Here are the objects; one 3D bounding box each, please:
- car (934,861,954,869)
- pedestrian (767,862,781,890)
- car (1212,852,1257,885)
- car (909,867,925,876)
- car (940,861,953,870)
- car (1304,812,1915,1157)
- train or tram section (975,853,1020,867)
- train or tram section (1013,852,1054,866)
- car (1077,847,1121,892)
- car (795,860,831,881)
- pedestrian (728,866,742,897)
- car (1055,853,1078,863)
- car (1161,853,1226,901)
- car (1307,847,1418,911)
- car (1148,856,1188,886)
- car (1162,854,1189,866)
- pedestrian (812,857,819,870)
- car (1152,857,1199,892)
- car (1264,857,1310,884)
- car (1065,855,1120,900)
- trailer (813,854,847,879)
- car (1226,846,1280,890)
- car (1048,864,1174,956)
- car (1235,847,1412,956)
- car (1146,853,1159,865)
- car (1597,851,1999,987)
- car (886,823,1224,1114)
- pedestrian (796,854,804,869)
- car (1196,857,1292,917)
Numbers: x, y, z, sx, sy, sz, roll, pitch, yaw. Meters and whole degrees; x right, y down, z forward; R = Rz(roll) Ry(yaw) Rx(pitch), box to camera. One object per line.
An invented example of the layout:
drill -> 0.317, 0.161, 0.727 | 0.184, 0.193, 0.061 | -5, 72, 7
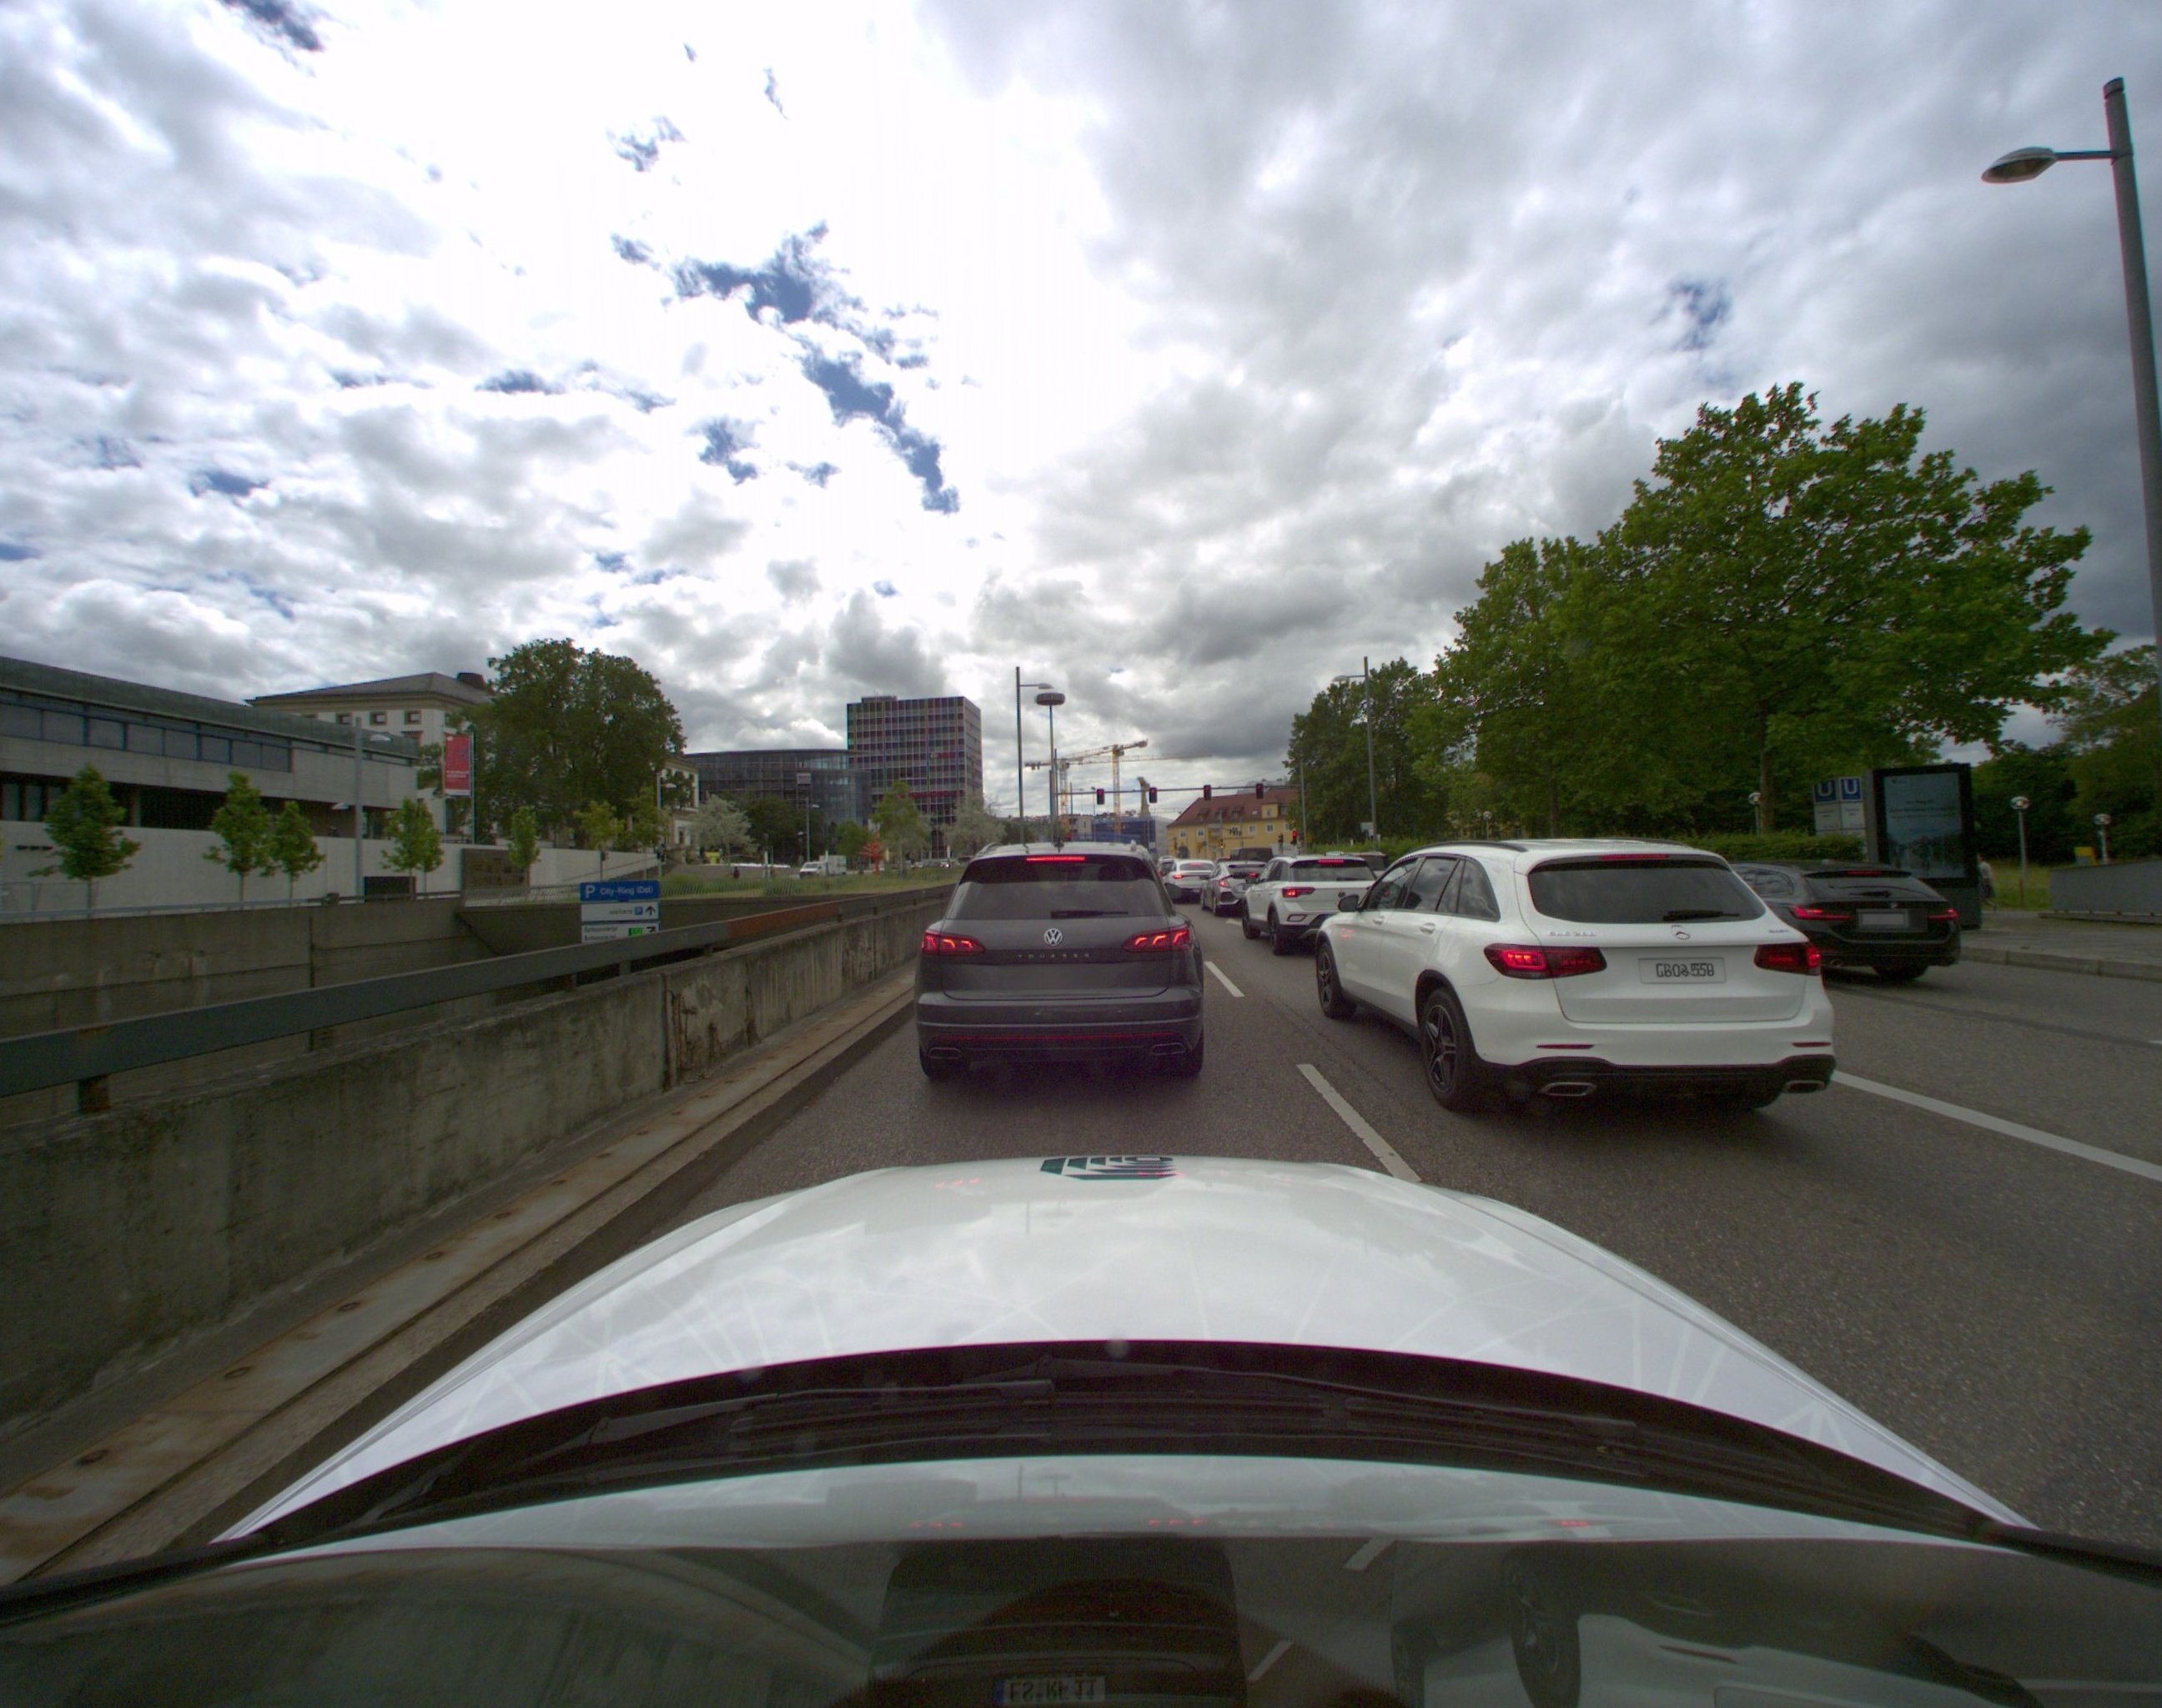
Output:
car -> -27.466, 2.180, 163.237 | 4.173, 1.603, 1.764 | -1, -2, 38
pedestrian -> -22.565, 1.624, 59.933 | 0.729, 2.012, 0.628 | -2, 4, -6
car -> 8.341, 0.797, 44.647 | 1.902, 1.697, 4.014 | 0, -1, 3
car -> -25.444, 2.716, 126.464 | 1.727, 1.495, 3.594 | 0, -2, 0
car -> -24.184, 2.058, 146.959 | 1.727, 1.495, 3.594 | 0, -2, 0
car -> 3.169, 0.626, 6.203 | 1.918, 1.653, 4.493 | -1, 0, 3
train or tram section -> -18.743, 1.270, 182.620 | 10.296, 3.010, 2.612 | -1, -2, 30
train or tram section -> -10.450, 1.166, 177.884 | 8.836, 3.010, 2.612 | -1, -2, 30
car -> 0.868, 0.696, 38.597 | 1.944, 2.018, 3.932 | 0, 0, 1
car -> -28.379, 1.687, 86.301 | 1.985, 2.013, 4.695 | -2, 1, 3
pedestrian -> -23.335, 1.841, 54.960 | 0.794, 2.013, 0.830 | -2, 0, -26
car -> -3.064, 0.789, 171.201 | 4.402, 2.014, 2.012 | -1, -2, 36
car -> 3.901, 0.785, 28.974 | 1.918, 1.529, 4.493 | -1, -1, 3
car -> 7.964, 0.654, 23.492 | 1.984, 1.640, 4.310 | -1, 0, 5
car -> 4.655, 0.906, 44.074 | 1.918, 1.529, 4.050 | -1, -1, 3
car -> 15.459, 0.981, 132.857 | 3.948, 2.014, 1.947 | -1, -2, 32
pedestrian -> -42.230, 1.462, 129.480 | 0.735, 2.013, 0.793 | -2, 1, 2
car -> 4.336, 0.921, 37.789 | 1.918, 1.529, 4.050 | -1, -1, 3
car -> 11.492, 0.903, 45.659 | 1.751, 1.447, 3.633 | 0, -1, 1
car -> 0.473, 0.865, 31.142 | 1.944, 1.600, 3.932 | 0, 0, 1
trailer -> -28.110, 1.356, 91.401 | 2.030, 2.604, 5.511 | 0, 0, 2
car -> 8.200, 0.667, 39.121 | 1.902, 2.014, 4.014 | 0, -1, 3
car -> 0.519, 0.879, 14.489 | 1.944, 1.384, 3.932 | 0, 0, 1
car -> 3.942, 0.723, 14.076 | 1.918, 1.551, 4.493 | -1, -1, 3
car -> 9.715, 0.676, 111.367 | 1.612, 1.627, 4.002 | 0, -2, 3
car -> 9.214, 0.757, 11.133 | 1.921, 1.460, 4.536 | 0, -1, 8
car -> -0.098, 0.689, 6.819 | 1.944, 1.651, 4.001 | -2, 0, 1
pedestrian -> -39.801, 1.083, 115.443 | 0.737, 2.013, 1.113 | -2, 1, -3
car -> 4.313, 0.847, 22.233 | 1.918, 1.432, 4.493 | -1, -1, 3
